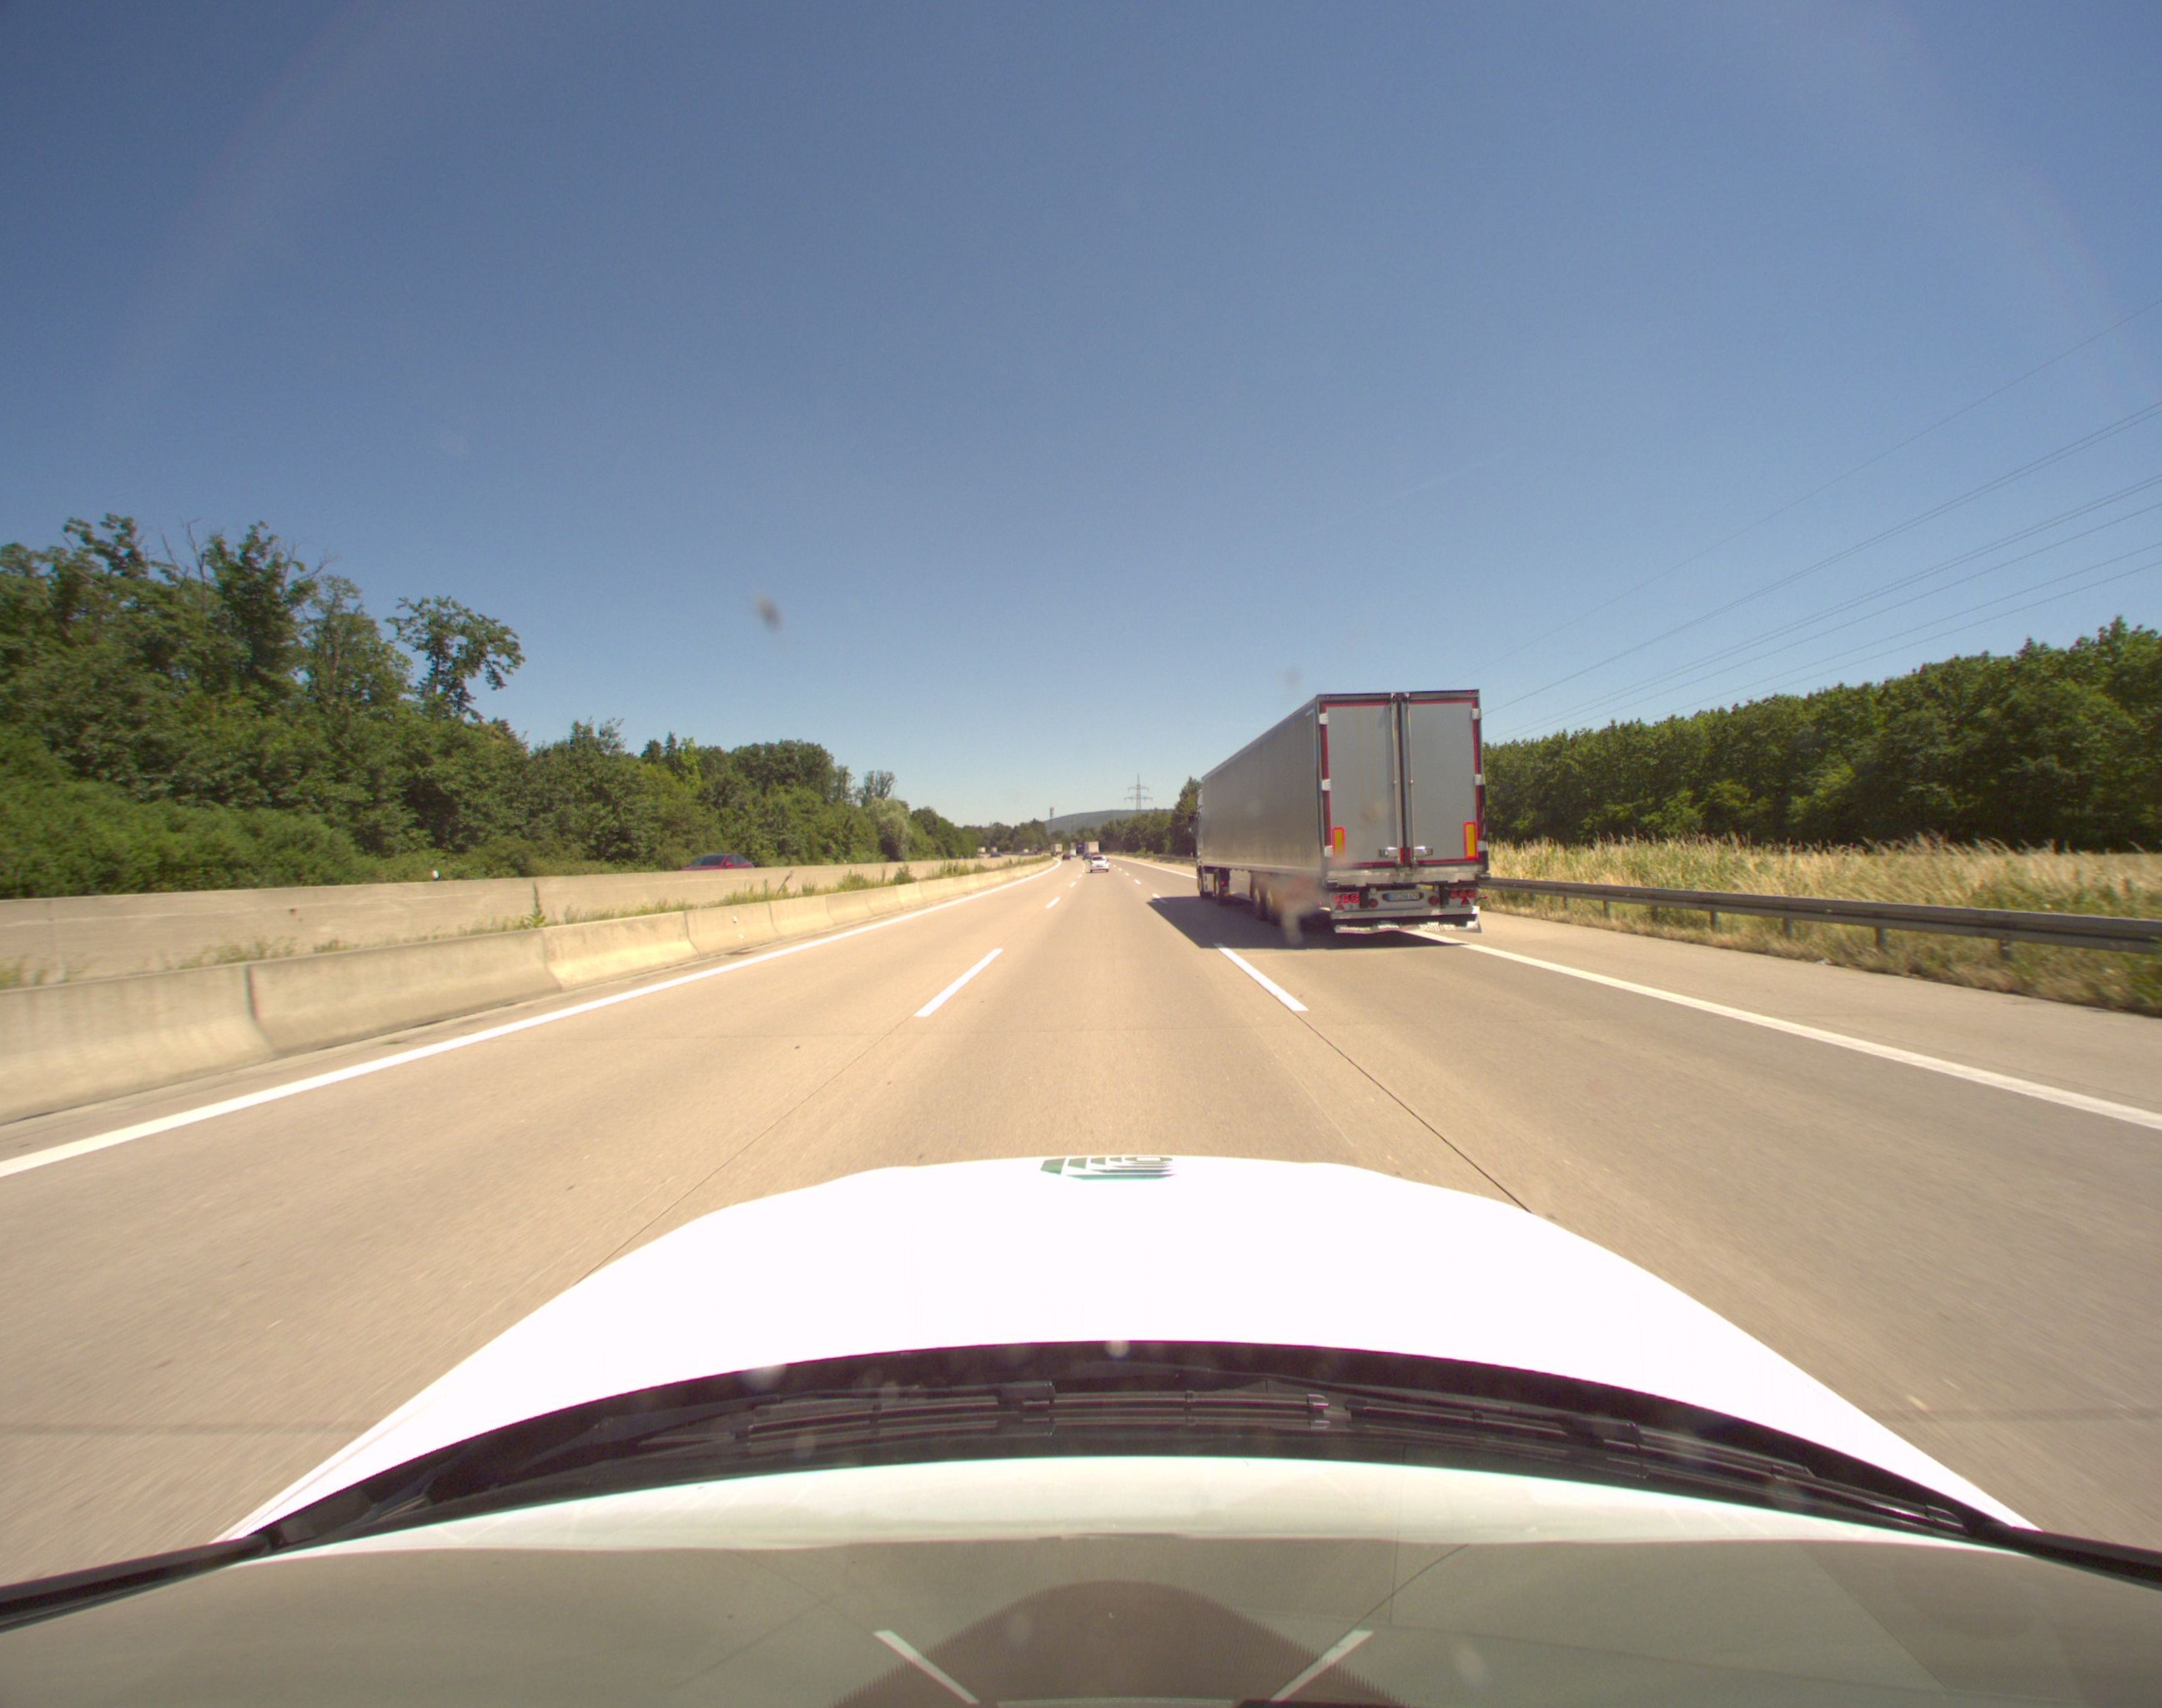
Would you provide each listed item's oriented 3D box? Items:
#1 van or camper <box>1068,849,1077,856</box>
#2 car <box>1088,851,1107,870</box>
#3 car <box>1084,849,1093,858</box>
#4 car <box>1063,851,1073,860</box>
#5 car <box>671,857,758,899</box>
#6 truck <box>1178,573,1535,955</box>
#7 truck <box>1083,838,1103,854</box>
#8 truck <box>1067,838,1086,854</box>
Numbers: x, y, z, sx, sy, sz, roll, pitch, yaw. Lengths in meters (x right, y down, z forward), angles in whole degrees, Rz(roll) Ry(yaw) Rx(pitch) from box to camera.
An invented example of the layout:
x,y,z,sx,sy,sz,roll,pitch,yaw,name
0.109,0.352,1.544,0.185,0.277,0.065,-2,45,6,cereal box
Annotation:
x,y,z,sx,sy,sz,roll,pitch,yaw,name
-2.328,-0.303,232.211,1.867,1.837,3.988,-4,0,-9,van or camper
1.517,0.593,74.414,1.636,1.662,3.361,1,1,1,car
1.527,-0.199,170.247,1.606,1.725,3.571,-4,0,-2,car
-2.822,0.321,180.002,2.016,1.700,3.999,2,0,-1,car
-15.886,0.983,35.557,1.793,1.670,4.218,-1,0,1,car
5.259,-1.488,21.466,3.564,5.787,18.251,0,1,1,truck
3.116,-1.978,214.658,3.813,3.889,14.132,-4,1,-4,truck
-1.627,-2.605,259.409,3.906,4.741,14.008,-4,0,-8,truck
